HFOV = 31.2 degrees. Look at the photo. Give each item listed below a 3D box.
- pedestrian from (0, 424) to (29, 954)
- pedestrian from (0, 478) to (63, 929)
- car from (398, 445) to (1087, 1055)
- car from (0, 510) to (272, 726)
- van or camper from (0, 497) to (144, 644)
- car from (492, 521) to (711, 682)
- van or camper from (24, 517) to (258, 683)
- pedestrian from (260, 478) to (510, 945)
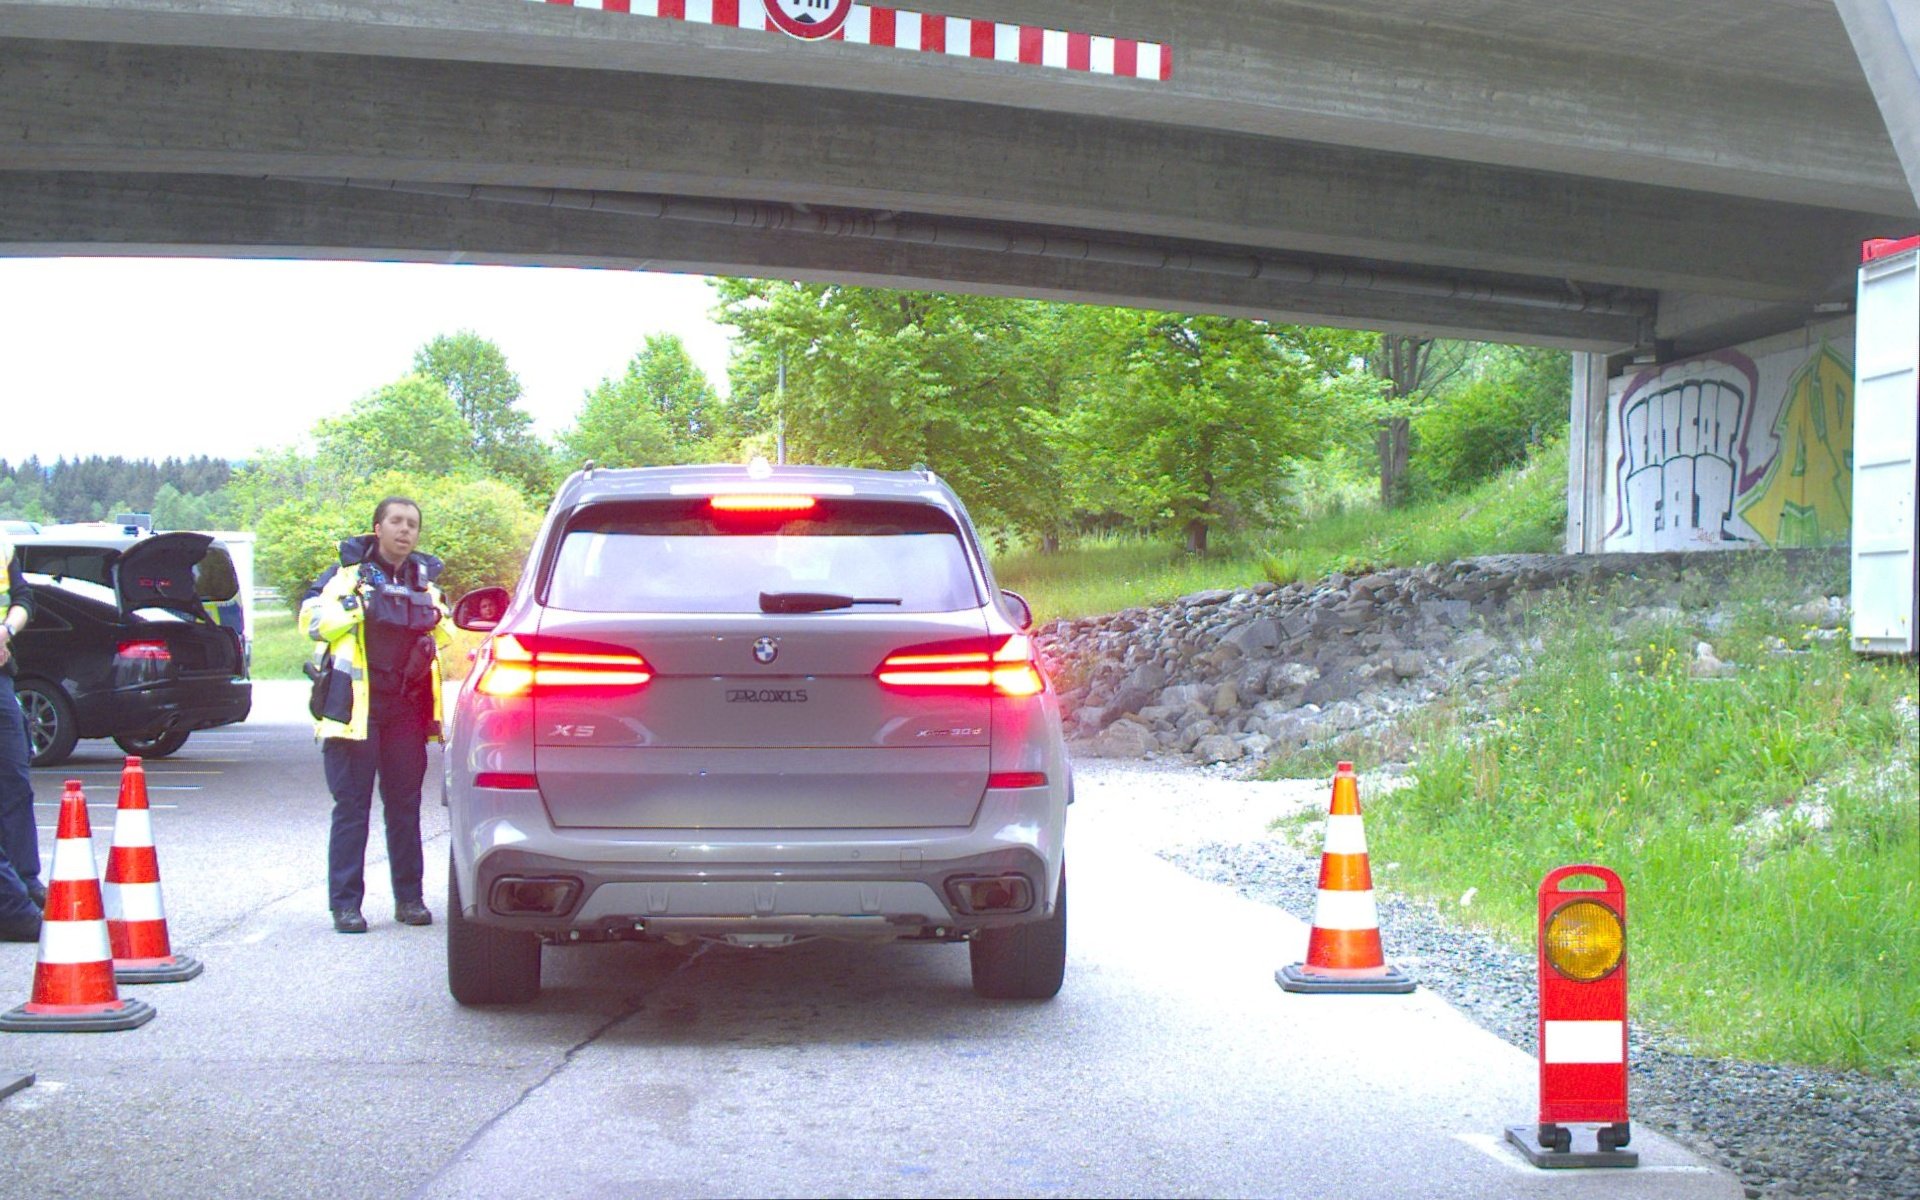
[{"bbox_3d":[-3.884,0.318,12.686,0.749,1.912,0.763,-1,1,-8],"label":"pedestrian"},{"bbox_3d":[-3.970,0.400,13.649,0.609,1.748,0.666,-1,1,1],"label":"pedestrian"},{"bbox_3d":[-0.715,0.407,12.061,1.993,1.759,4.000,-1,1,-2],"label":"car"},{"bbox_3d":[-9.324,0.157,33.467,4.809,2.007,1.840,0,1,14],"label":"car"},{"bbox_3d":[-16.479,-0.554,61.691,2.104,2.510,5.551,-1,1,-29],"label":"van or camper"},{"bbox_3d":[-5.469,-0.011,52.042,1.993,2.338,4.001,-1,1,-27],"label":"car"},{"bbox_3d":[-13.487,-0.040,56.272,2.229,2.543,6.612,-1,1,-27],"label":"van or camper"},{"bbox_3d":[-2.203,0.401,13.130,0.779,1.716,0.757,-1,1,-22],"label":"pedestrian"}]
